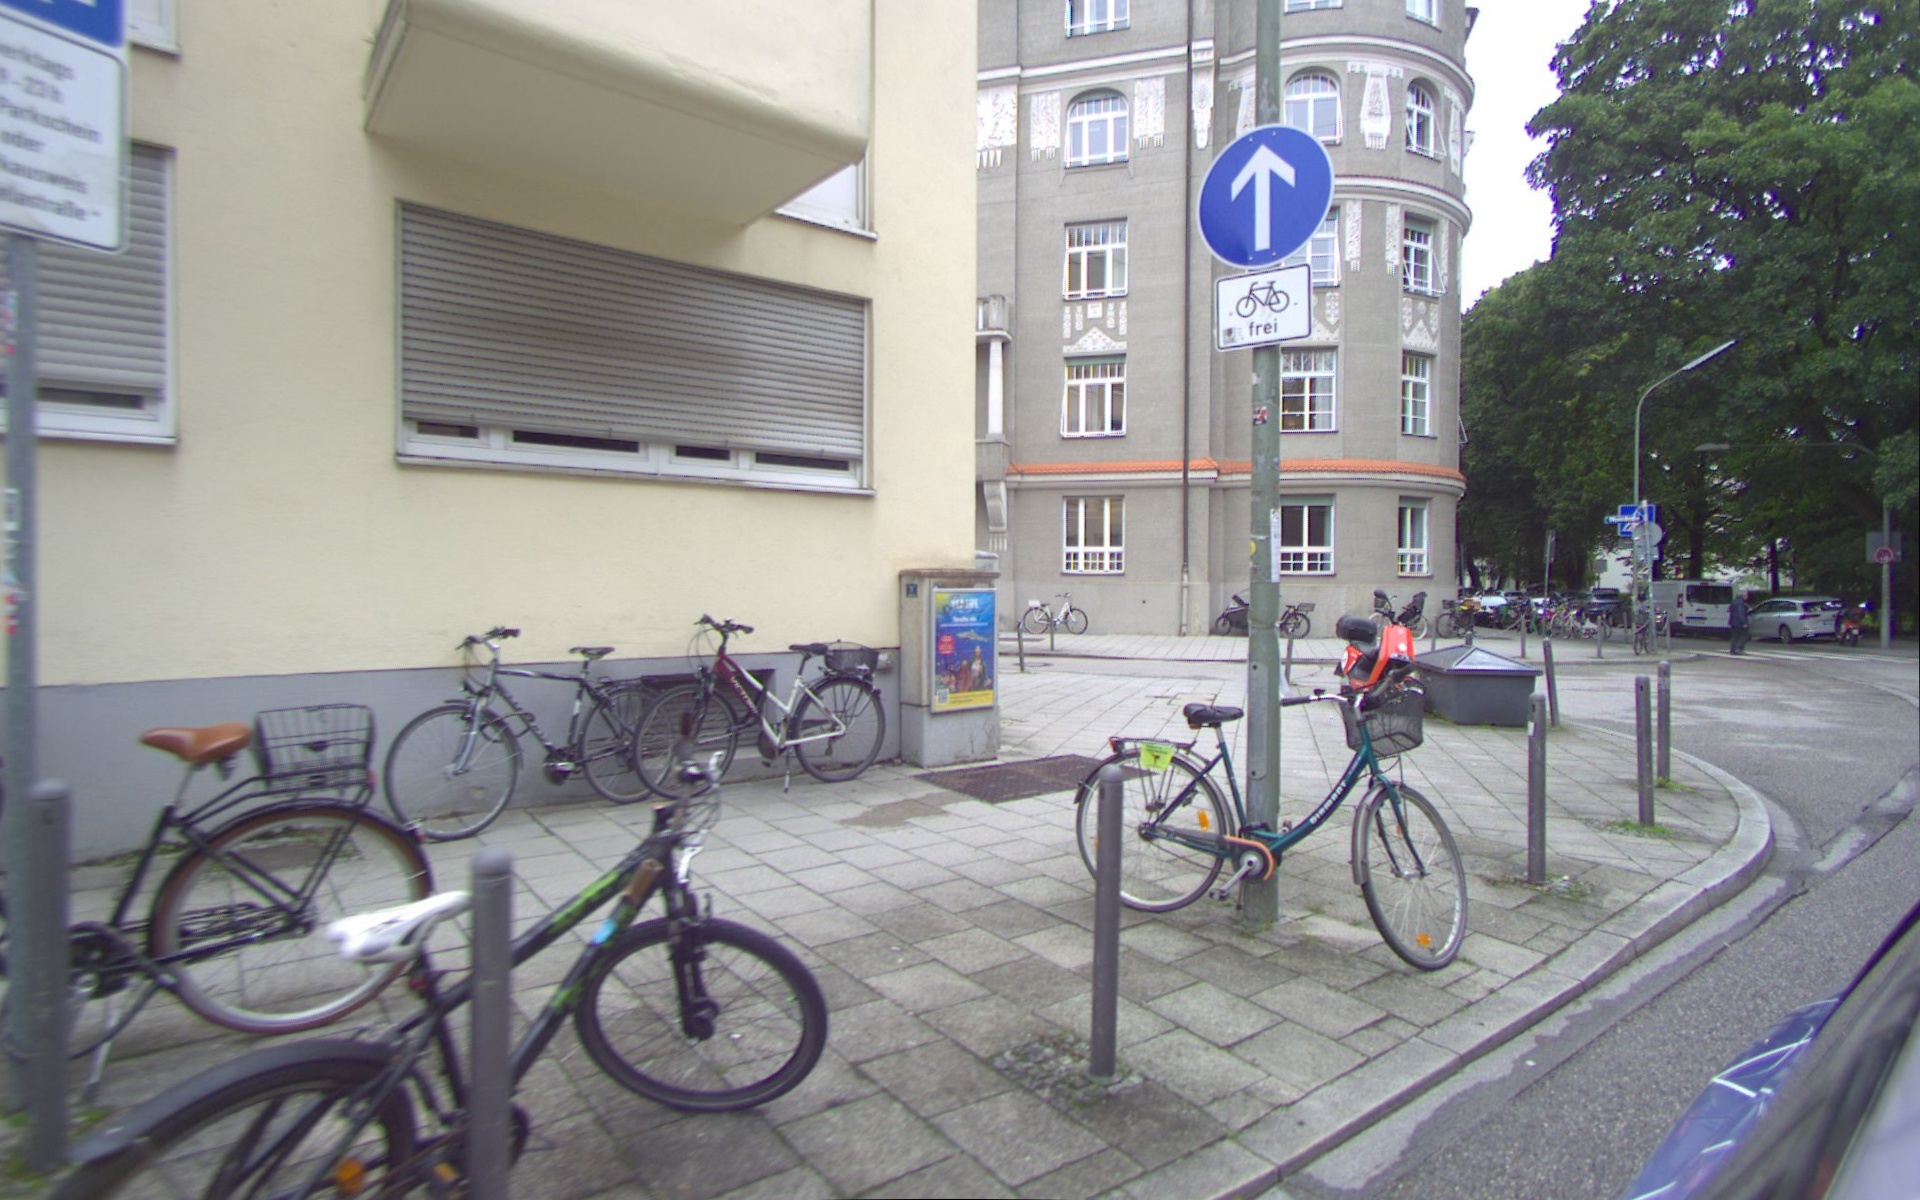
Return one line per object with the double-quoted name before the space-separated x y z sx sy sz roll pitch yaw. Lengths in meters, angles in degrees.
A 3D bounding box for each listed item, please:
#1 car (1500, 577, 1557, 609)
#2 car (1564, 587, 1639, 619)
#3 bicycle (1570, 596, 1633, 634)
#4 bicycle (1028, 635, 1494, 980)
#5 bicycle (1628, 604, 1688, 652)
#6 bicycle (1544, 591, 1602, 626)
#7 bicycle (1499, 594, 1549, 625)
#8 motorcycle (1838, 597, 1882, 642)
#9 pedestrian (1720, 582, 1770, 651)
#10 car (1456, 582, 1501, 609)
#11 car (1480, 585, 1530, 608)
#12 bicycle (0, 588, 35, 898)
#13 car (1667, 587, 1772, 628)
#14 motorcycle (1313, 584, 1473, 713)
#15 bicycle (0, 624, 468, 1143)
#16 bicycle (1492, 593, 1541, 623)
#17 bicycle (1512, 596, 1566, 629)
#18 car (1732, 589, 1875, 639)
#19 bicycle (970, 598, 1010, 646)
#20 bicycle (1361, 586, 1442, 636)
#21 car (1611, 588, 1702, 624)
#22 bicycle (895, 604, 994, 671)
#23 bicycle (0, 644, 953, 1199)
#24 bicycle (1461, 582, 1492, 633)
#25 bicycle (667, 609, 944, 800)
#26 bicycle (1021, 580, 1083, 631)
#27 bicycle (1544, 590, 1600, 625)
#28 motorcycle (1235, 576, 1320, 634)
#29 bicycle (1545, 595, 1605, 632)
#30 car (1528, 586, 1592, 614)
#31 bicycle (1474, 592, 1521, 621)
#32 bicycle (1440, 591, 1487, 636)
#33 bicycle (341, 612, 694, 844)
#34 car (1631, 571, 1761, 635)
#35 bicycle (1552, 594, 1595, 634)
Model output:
"car" 33.967 -0.451 60.552 1.751 1.841 4.499 1 1 13
"car" 31.699 0.114 50.165 1.751 1.450 4.499 1 1 13
"bicycle" 20.672 0.464 32.652 1.696 1.161 0.506 1 2 33
"bicycle" 1.234 0.738 4.241 1.747 1.079 0.768 1 2 30
"bicycle" 16.238 0.627 23.518 1.970 1.022 0.512 -1 2 -36
"bicycle" 21.142 0.290 34.906 1.672 1.161 0.506 1 2 33
"bicycle" 22.147 0.349 39.729 1.672 1.161 0.506 1 2 33
"motorcycle" 25.520 0.550 28.716 0.855 1.199 1.976 -3 -1 41
"pedestrian" 19.530 0.387 25.195 0.717 1.662 0.808 1 1 20
"car" 36.383 -0.345 71.178 1.751 1.858 4.499 1 1 13
"car" 35.124 -0.257 65.335 1.751 1.450 4.499 1 1 13
"bicycle" -4.610 0.583 3.739 1.734 1.221 0.688 -1 2 -45
"car" 28.764 0.236 38.509 1.601 1.467 4.416 0 1 14
"motorcycle" 4.992 0.501 11.857 0.801 1.373 2.087 0 0 -6
"bicycle" -2.390 0.687 2.639 1.926 1.168 0.581 -1 2 -35
"bicycle" 22.350 0.323 40.646 1.672 1.161 0.506 1 2 33
"bicycle" 21.333 0.458 37.305 1.672 1.161 0.506 1 2 33
"car" 27.354 0.401 33.019 1.599 1.467 4.422 0 1 11
"bicycle" 0.725 0.502 24.188 0.532 1.027 1.800 1 2 16
"bicycle" 11.659 0.285 26.747 1.886 1.271 0.740 0 1 -13
"car" 30.321 0.218 44.216 1.599 1.467 4.422 0 1 11
"bicycle" -0.248 0.617 17.537 0.664 1.099 1.768 -1 -1 44
"bicycle" -0.845 0.745 2.111 0.578 1.168 1.936 1 2 38
"bicycle" 15.238 0.192 29.847 0.732 1.431 1.907 1 2 29
"bicycle" -0.980 0.621 6.662 1.729 1.067 0.581 -1 2 -35
"bicycle" 2.566 0.140 28.200 1.650 1.366 0.618 1 1 13
"bicycle" 21.454 0.244 35.484 1.672 1.161 0.506 1 2 33
"motorcycle" 8.375 0.112 26.794 2.117 1.458 0.735 1 1 16
"bicycle" 20.459 0.448 33.675 1.672 1.161 0.461 1 2 33
"car" 32.841 -0.048 55.528 1.751 1.450 4.499 1 1 13
"bicycle" 22.224 0.259 41.841 1.672 1.161 0.506 1 2 33
"bicycle" 14.031 0.355 28.183 0.563 1.170 1.896 6 5 44
"bicycle" -2.423 0.631 5.644 1.729 1.067 0.581 -1 2 -35
"car" 25.740 0.060 35.639 2.017 2.067 4.935 1 1 15
"bicycle" 18.788 0.405 30.982 1.653 1.161 0.512 -1 2 -36
